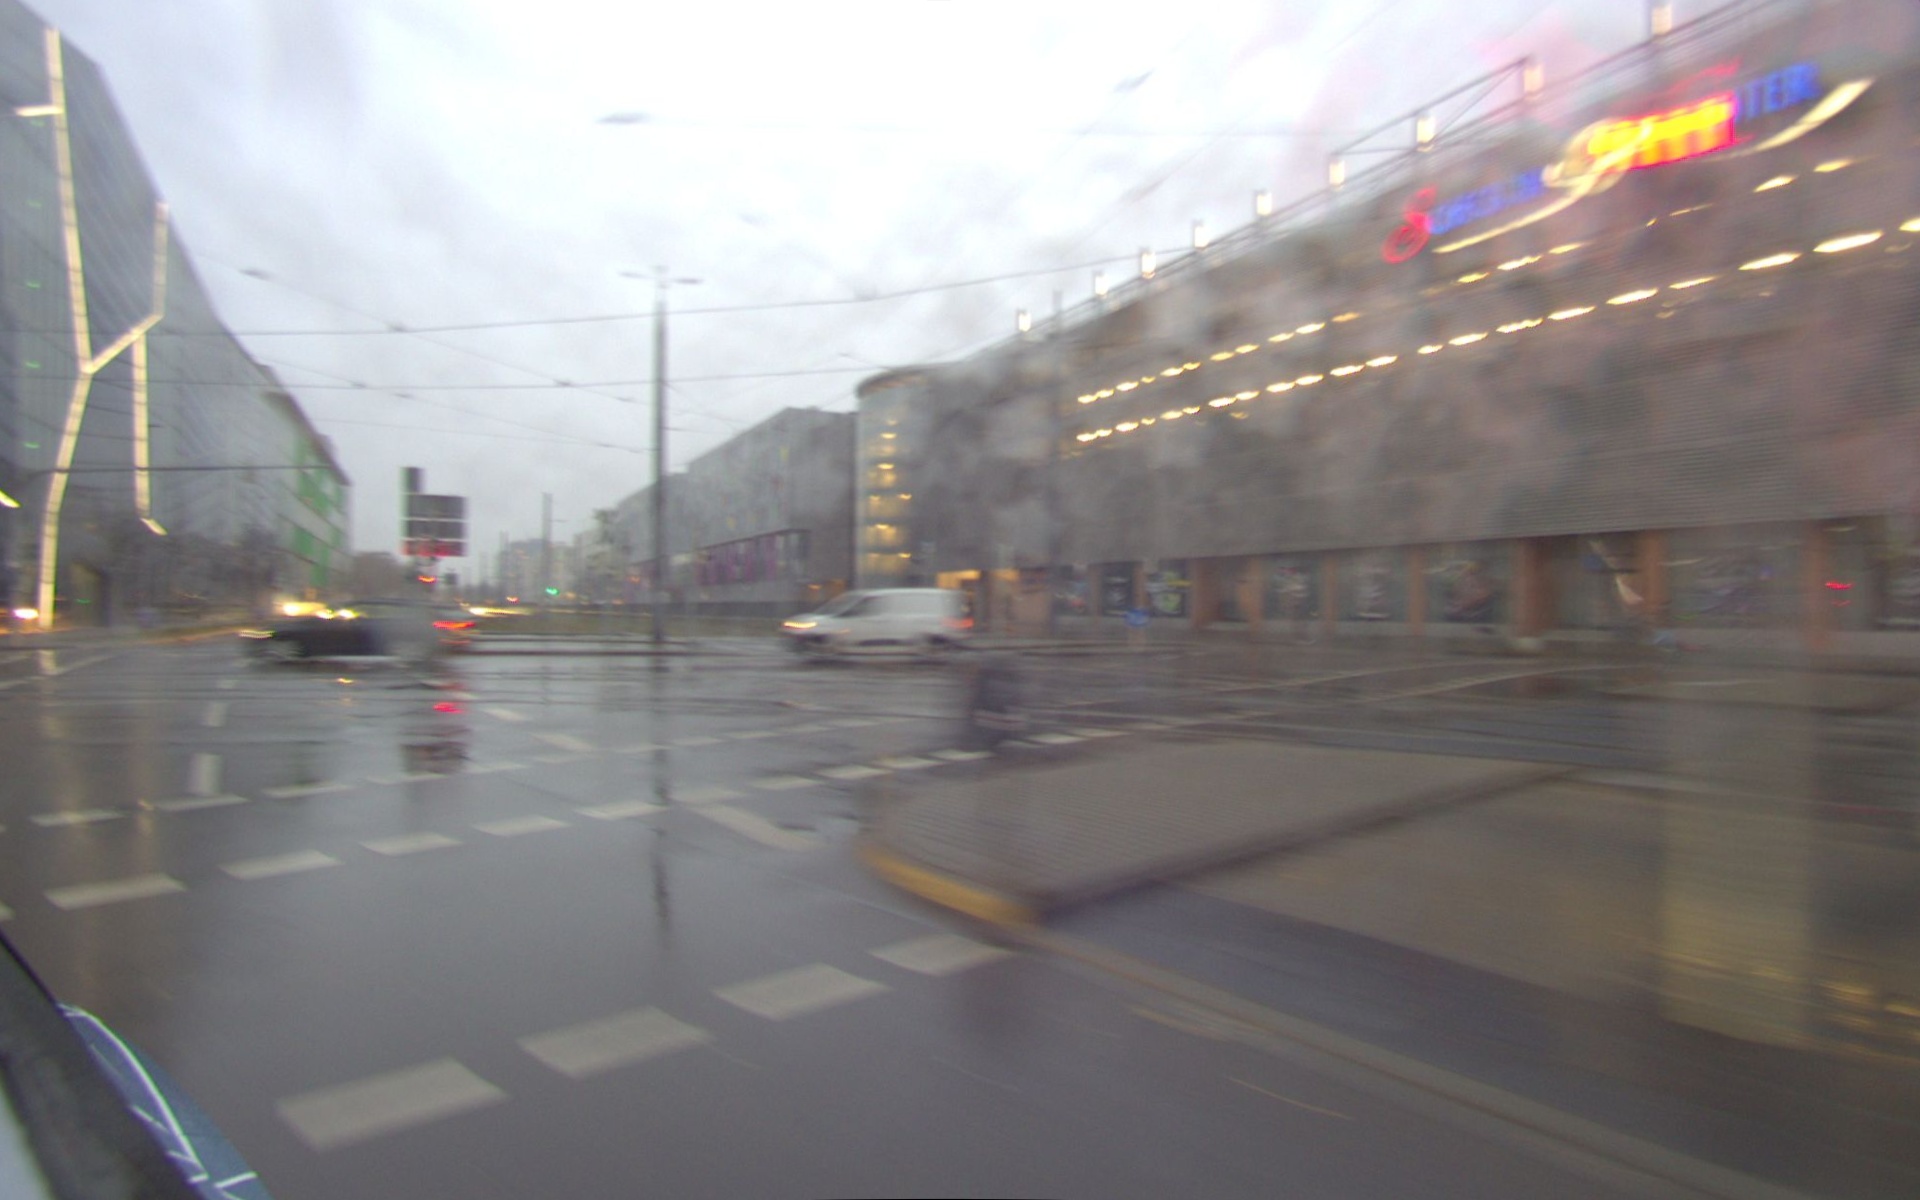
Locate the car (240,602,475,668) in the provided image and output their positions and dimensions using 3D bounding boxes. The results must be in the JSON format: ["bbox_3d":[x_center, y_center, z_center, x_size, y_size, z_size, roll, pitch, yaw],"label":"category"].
[{"bbox_3d":[-13.724,0.775,23.275,4.351,1.455,1.633,0,-1,-11],"label":"car"}]

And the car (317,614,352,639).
[{"bbox_3d":[-44.719,1.881,72.437,1.802,1.674,4.013,0,-1,-27],"label":"car"}]

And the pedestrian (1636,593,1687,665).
[{"bbox_3d":[24.462,0.997,35.294,0.949,2.457,1.117,1,0,-27],"label":"pedestrian"}]

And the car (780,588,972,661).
[{"bbox_3d":[-1.996,0.598,25.044,4.548,1.732,1.928,0,-1,2],"label":"car"}]

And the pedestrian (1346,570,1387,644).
[{"bbox_3d":[16.280,0.281,40.527,1.094,2.947,0.969,1,0,-27],"label":"pedestrian"}]
